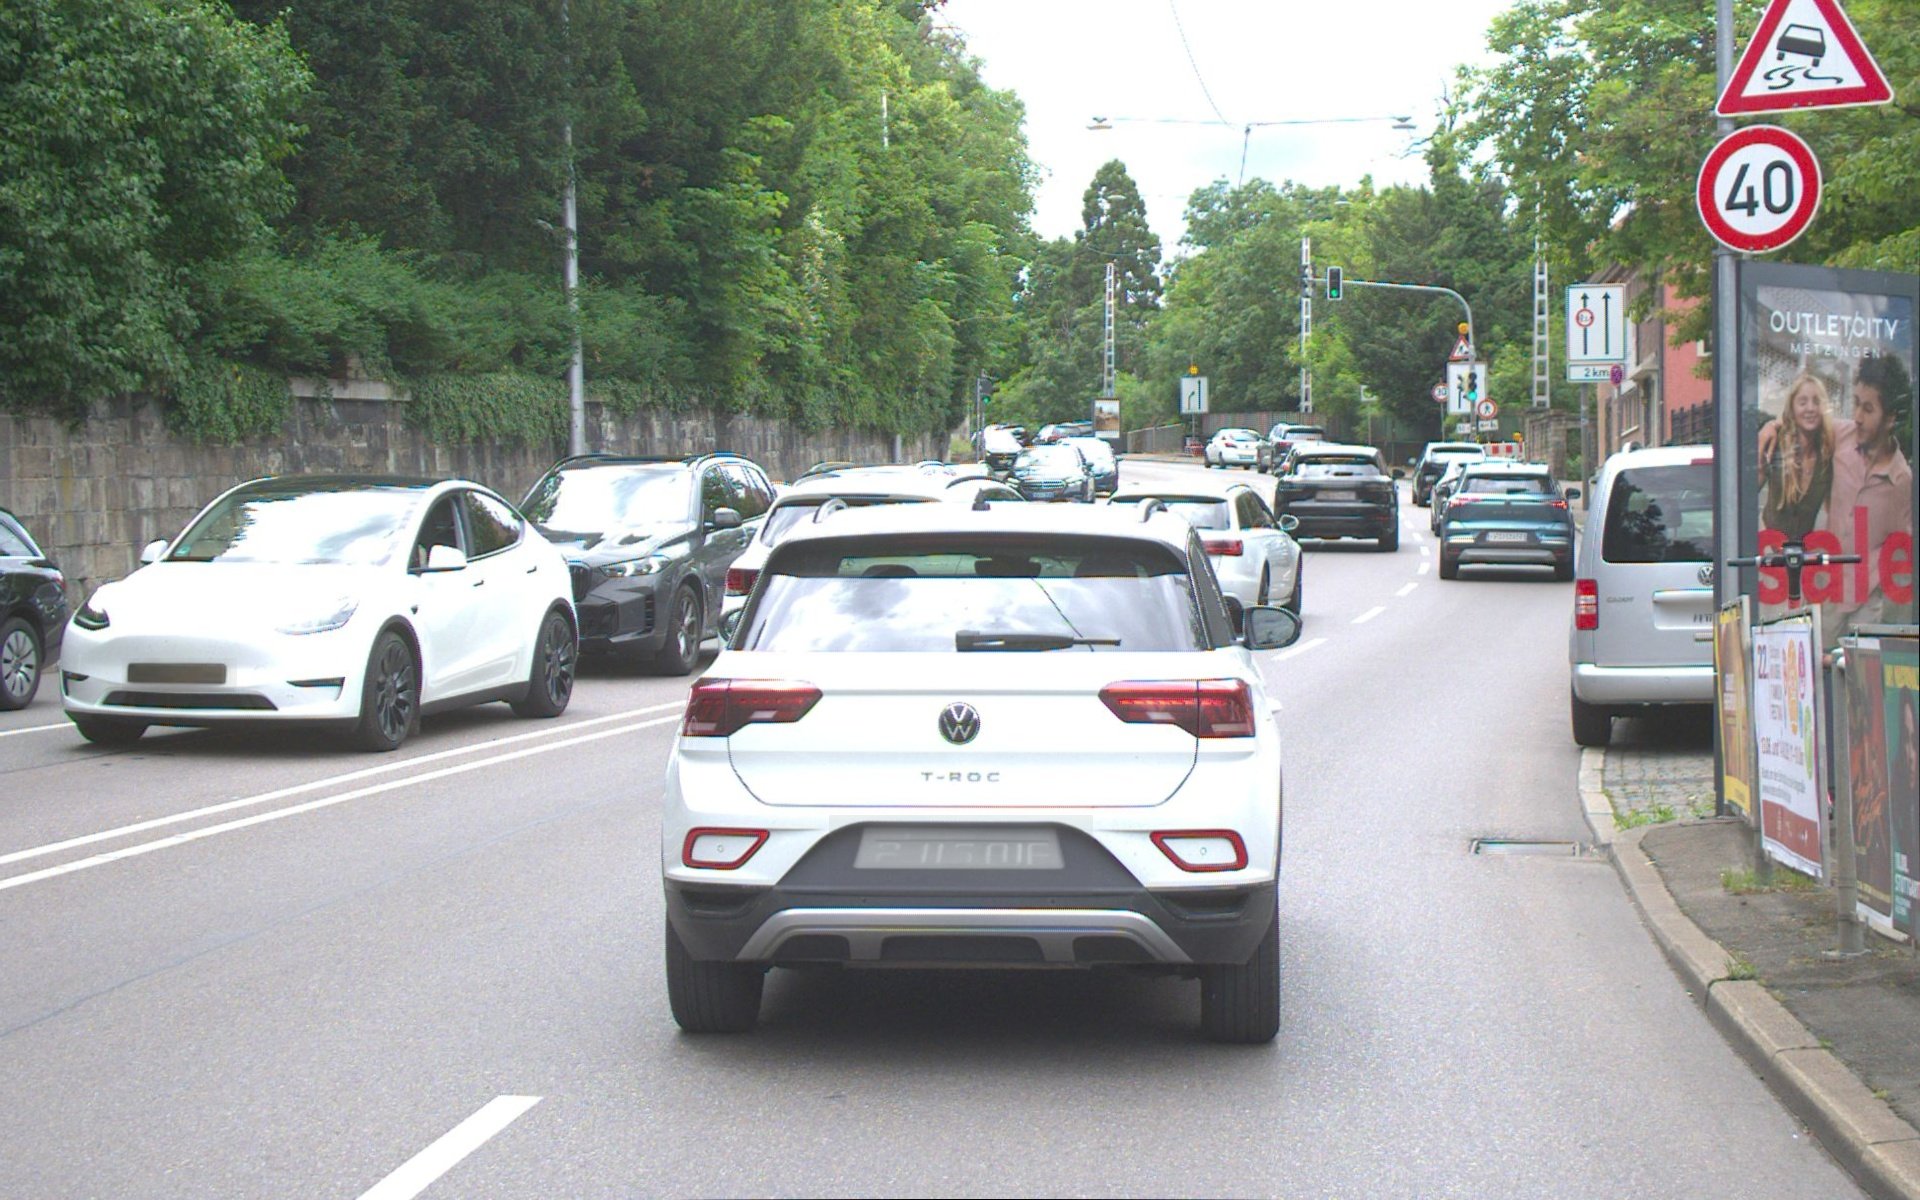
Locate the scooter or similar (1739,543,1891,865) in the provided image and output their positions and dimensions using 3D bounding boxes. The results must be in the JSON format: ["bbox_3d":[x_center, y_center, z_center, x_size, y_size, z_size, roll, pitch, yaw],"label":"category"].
[{"bbox_3d":[3.685,0.420,14.887,0.516,1.284,1.486,-2,2,11],"label":"scooter or similar"}]

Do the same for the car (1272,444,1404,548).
[{"bbox_3d":[6.173,-1.723,55.779,1.994,1.551,4.150,2,3,7],"label":"car"}]

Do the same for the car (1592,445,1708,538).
[{"bbox_3d":[11.659,-1.867,58.274,1.676,1.456,4.365,-1,3,8],"label":"car"}]

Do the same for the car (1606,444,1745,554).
[{"bbox_3d":[10.959,-1.579,52.829,1.715,1.466,4.038,-3,3,8],"label":"car"}]

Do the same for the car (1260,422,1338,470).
[{"bbox_3d":[11.201,-5.092,113.838,1.993,1.569,4.151,0,2,-3],"label":"car"}]

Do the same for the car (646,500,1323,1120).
[{"bbox_3d":[0.145,0.502,11.031,1.758,1.550,3.796,2,2,3],"label":"car"}]

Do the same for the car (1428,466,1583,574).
[{"bbox_3d":[7.469,-1.121,47.108,1.994,1.409,4.149,0,2,9],"label":"car"}]

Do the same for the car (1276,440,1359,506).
[{"bbox_3d":[8.279,-2.938,79.354,1.781,1.449,3.999,1,3,7],"label":"car"}]

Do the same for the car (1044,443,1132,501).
[{"bbox_3d":[3.370,-3.360,89.953,1.843,1.431,3.999,0,3,9],"label":"car"}]

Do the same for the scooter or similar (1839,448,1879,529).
[{"bbox_3d":[14.402,-1.790,55.101,0.517,1.256,1.168,-2,3,12],"label":"scooter or similar"}]

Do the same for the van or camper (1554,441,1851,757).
[{"bbox_3d":[4.866,-0.083,22.221,1.700,1.838,4.240,0,2,14],"label":"van or camper"}]

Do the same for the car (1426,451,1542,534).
[{"bbox_3d":[9.464,-1.967,62.358,1.994,1.445,4.150,1,2,8],"label":"car"}]

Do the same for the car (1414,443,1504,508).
[{"bbox_3d":[11.527,-2.888,79.534,1.994,1.445,4.150,1,2,8],"label":"car"}]

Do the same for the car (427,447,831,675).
[{"bbox_3d":[-2.660,-0.392,28.947,1.961,1.743,4.876,0,2,12],"label":"car"}]

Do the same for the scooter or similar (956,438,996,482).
[{"bbox_3d":[0.477,-4.140,101.684,1.095,1.233,0.434,2,3,-43],"label":"scooter or similar"}]

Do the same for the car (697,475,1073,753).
[{"bbox_3d":[-0.398,0.011,22.502,1.758,1.604,3.794,2,2,9],"label":"car"}]

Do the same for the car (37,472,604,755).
[{"bbox_3d":[-3.870,-0.020,21.754,1.838,1.549,4.787,1,3,12],"label":"car"}]

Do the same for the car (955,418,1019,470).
[{"bbox_3d":[0.970,-5.688,125.878,1.993,1.748,4.001,1,1,-4],"label":"car"}]

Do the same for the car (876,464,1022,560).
[{"bbox_3d":[-0.142,-1.509,58.183,1.960,1.541,3.749,-1,2,8],"label":"car"}]

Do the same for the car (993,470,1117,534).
[{"bbox_3d":[2.174,-2.227,77.452,2.003,1.404,4.753,0,2,11],"label":"car"}]

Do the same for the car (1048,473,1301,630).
[{"bbox_3d":[2.237,-0.533,34.757,1.994,1.484,4.149,0,2,11],"label":"car"}]

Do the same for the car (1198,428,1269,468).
[{"bbox_3d":[10.056,-5.596,126.586,1.993,1.445,4.152,0,2,-4],"label":"car"}]

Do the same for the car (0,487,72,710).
[{"bbox_3d":[-7.475,0.014,21.738,1.734,1.447,4.047,2,3,17],"label":"car"}]
